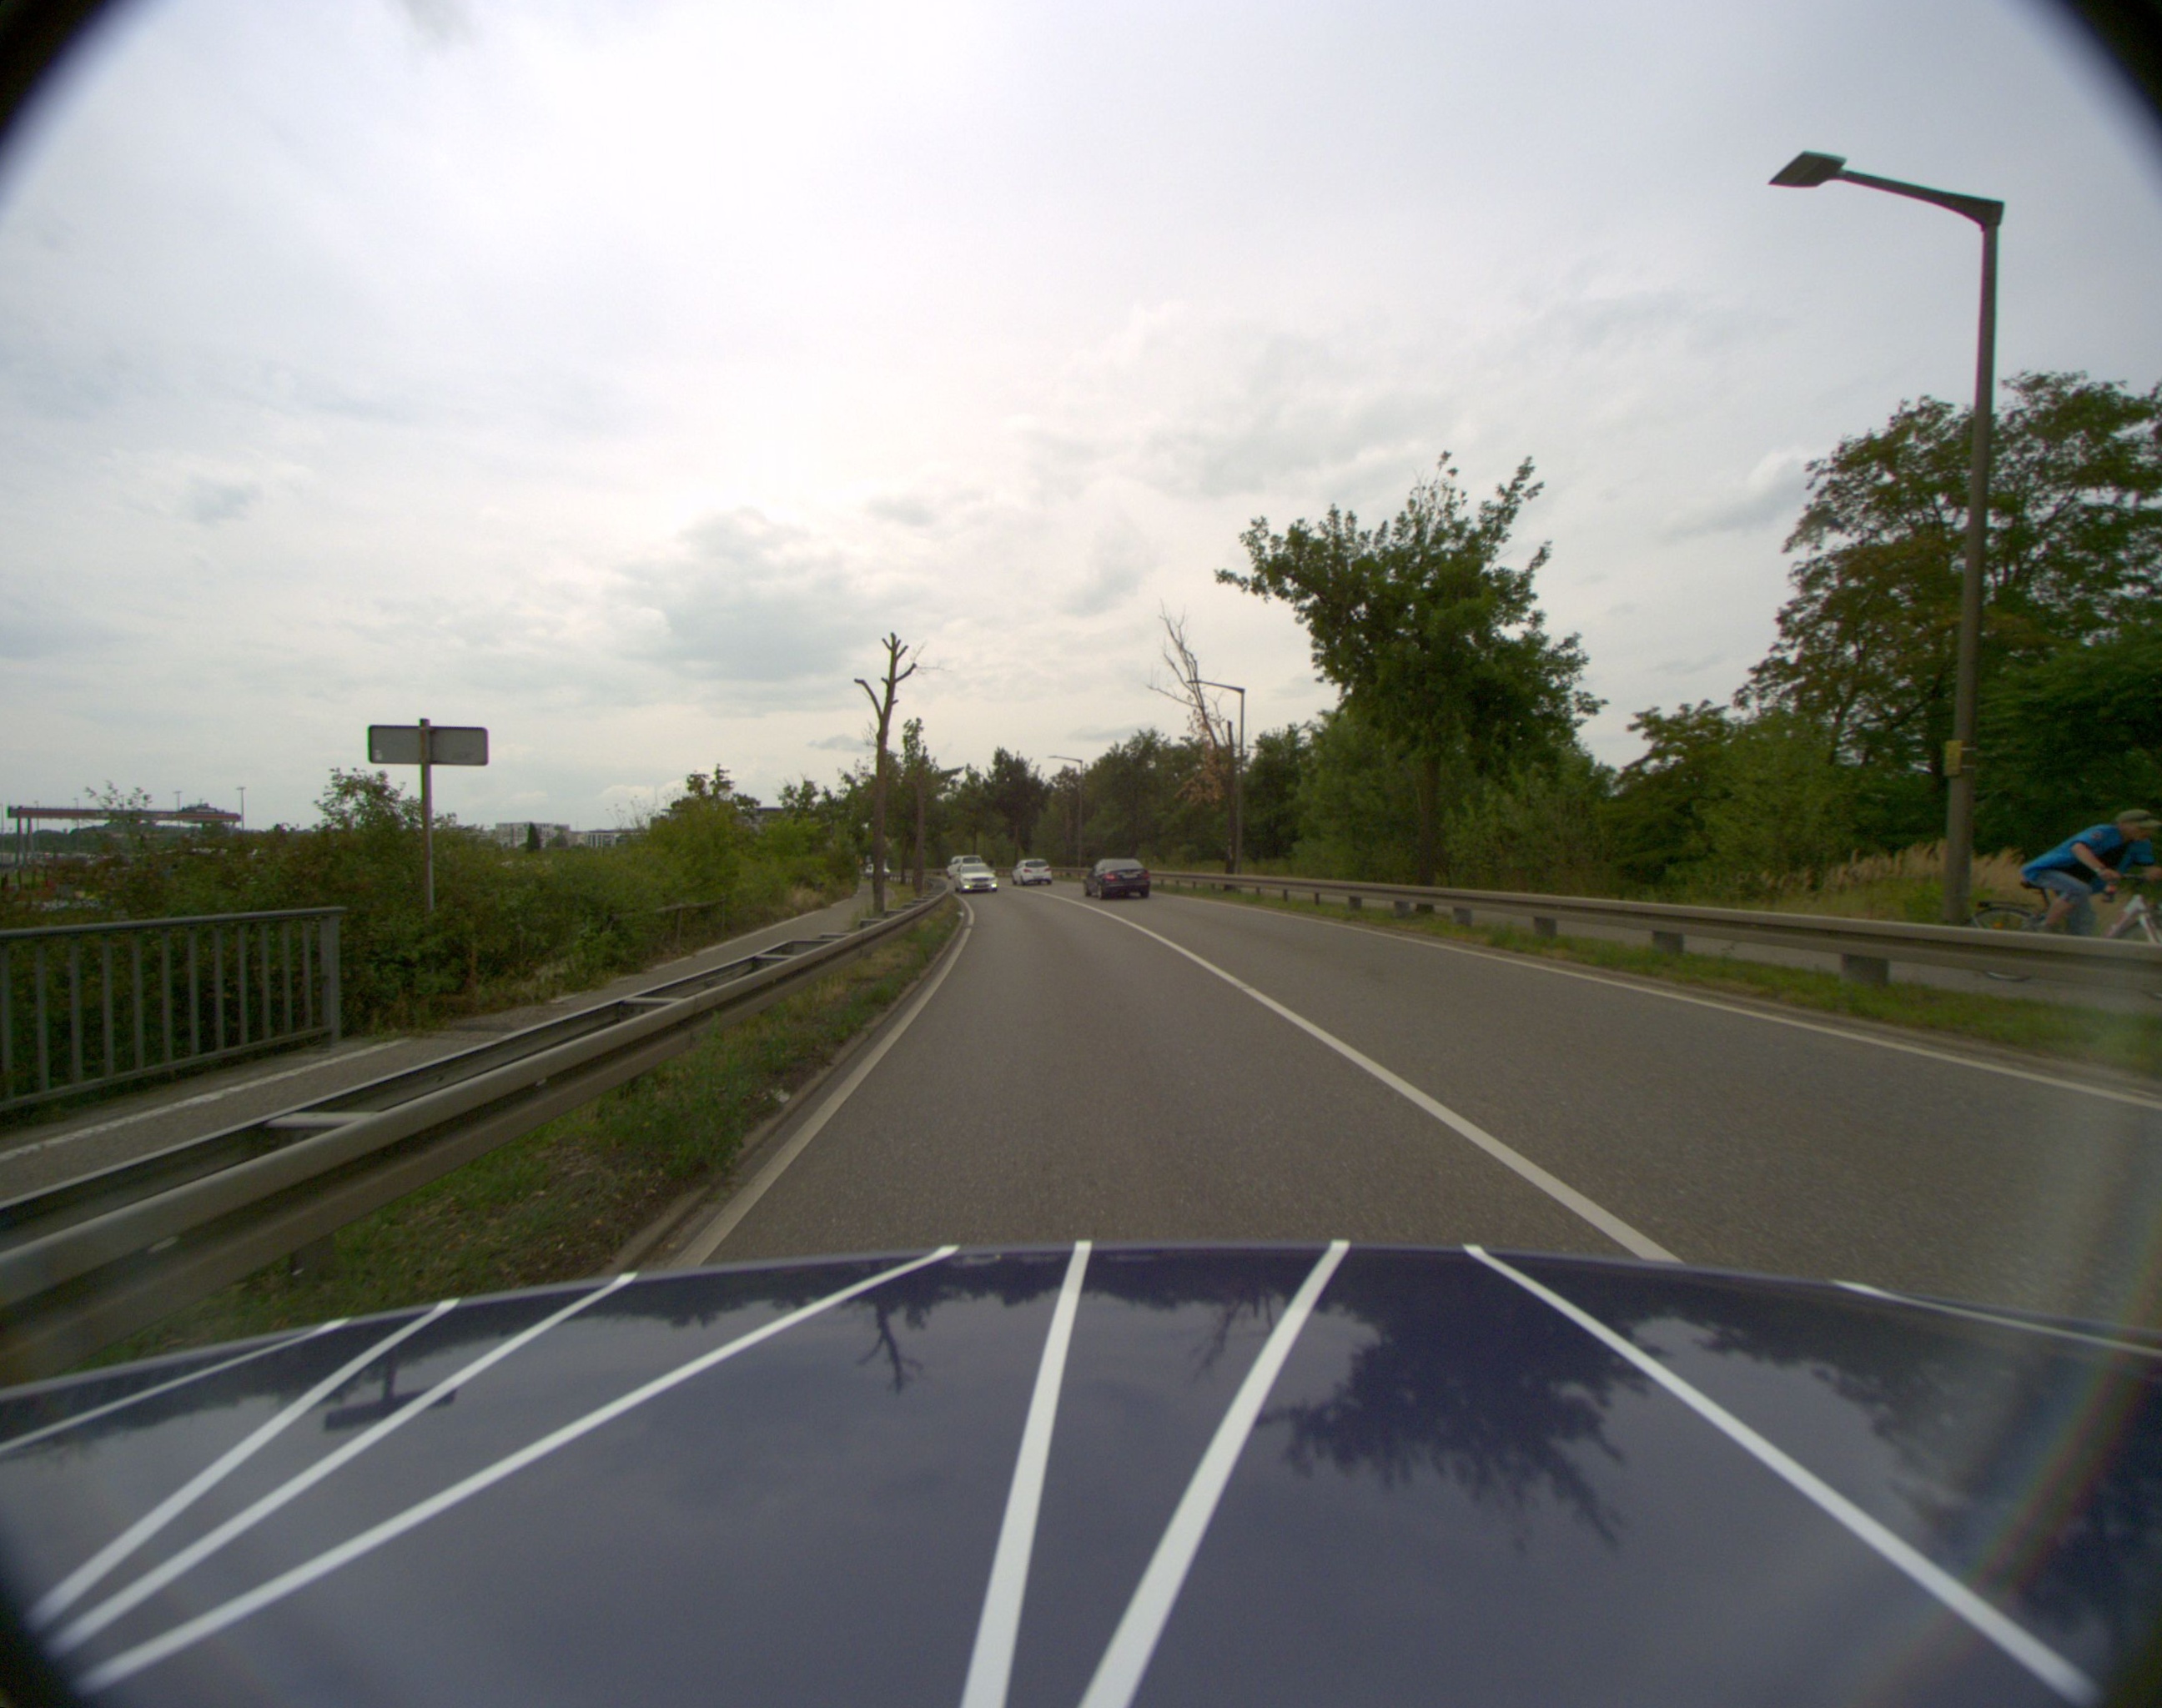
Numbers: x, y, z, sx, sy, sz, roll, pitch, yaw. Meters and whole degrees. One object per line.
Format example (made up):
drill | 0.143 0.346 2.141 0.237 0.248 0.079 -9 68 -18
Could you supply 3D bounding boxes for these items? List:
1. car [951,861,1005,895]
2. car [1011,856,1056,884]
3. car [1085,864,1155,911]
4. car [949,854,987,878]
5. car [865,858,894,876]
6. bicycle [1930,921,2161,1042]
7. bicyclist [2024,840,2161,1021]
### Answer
car | -5.236 1.151 38.277 1.940 1.448 3.878 -2 2 -19
car | -2.801 0.907 44.091 1.812 1.512 4.427 -2 0 -14
car | 1.349 1.157 28.091 1.710 1.487 4.325 -3 0 -8
car | -9.327 0.974 62.404 1.966 1.874 4.424 -2 0 -23
car | -20.166 1.335 75.942 1.966 1.694 4.424 -2 0 -25
bicycle | 8.881 1.083 6.672 0.694 0.793 1.892 -2 0 -2
bicyclist | 8.878 0.612 6.486 0.712 1.436 0.748 -2 0 -2
